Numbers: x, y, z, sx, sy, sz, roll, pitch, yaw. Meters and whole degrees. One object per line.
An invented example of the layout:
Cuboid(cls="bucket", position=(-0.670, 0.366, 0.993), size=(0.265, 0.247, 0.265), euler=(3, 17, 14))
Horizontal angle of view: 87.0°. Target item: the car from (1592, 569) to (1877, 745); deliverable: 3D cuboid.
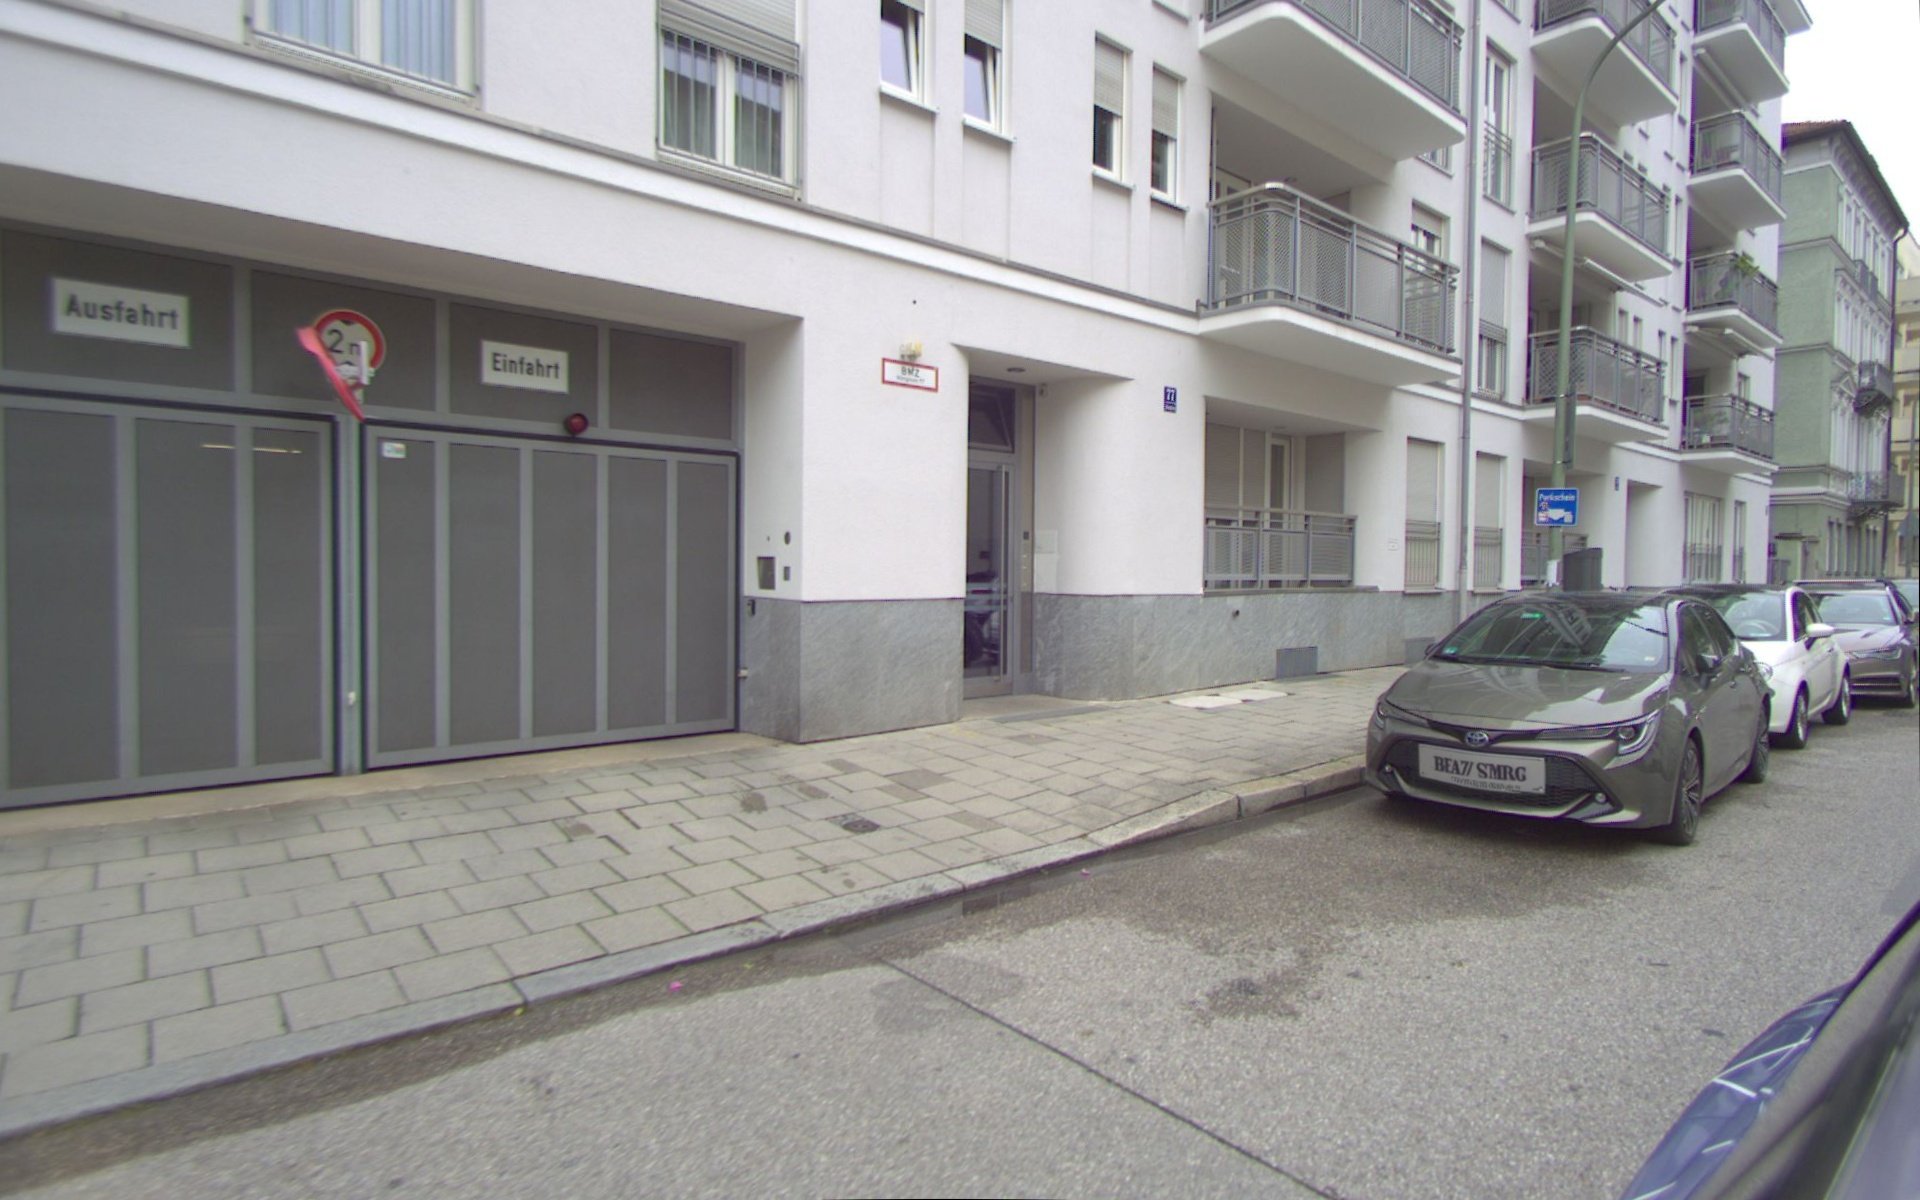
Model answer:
Cuboid(cls="car", position=(8.069, 0.445, 10.433), size=(3.681, 1.485, 1.620), euler=(-2, 1, -41))

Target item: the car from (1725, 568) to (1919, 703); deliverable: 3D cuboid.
Cuboid(cls="car", position=(11.734, 0.344, 13.379), size=(4.525, 1.500, 1.793), euler=(-2, 1, -42))

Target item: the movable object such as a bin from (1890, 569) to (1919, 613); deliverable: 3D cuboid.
Cuboid(cls="movable object such as a bin", position=(28.195, -0.272, 29.684), size=(2.125, 1.207, 1.023), euler=(-1, 4, -40))

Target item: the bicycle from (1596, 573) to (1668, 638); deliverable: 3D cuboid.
Cuboid(cls="bicycle", position=(12.395, 0.082, 18.647), size=(1.778, 1.111, 0.570), euler=(-1, 5, -40))

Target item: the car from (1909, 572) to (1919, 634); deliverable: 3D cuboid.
Cuboid(cls="car", position=(24.020, 0.048, 24.169), size=(3.656, 1.441, 1.717), euler=(-1, 0, -43))

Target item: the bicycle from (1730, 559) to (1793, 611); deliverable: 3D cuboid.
Cuboid(cls="bicycle", position=(18.987, -0.365, 23.963), size=(1.939, 1.186, 0.803), euler=(-1, 1, -40))

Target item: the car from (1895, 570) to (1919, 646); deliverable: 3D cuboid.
Cuboid(cls="car", position=(20.652, 0.119, 20.850), size=(4.302, 1.485, 1.666), euler=(-2, 1, -42))

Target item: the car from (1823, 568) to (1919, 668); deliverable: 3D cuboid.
Cuboid(cls="car", position=(16.140, 0.237, 17.192), size=(3.954, 1.552, 1.839), euler=(-2, 1, -43))

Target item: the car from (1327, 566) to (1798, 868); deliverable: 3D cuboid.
Cuboid(cls="car", position=(4.392, 0.532, 7.077), size=(4.147, 1.494, 1.773), euler=(-1, 2, -43))
